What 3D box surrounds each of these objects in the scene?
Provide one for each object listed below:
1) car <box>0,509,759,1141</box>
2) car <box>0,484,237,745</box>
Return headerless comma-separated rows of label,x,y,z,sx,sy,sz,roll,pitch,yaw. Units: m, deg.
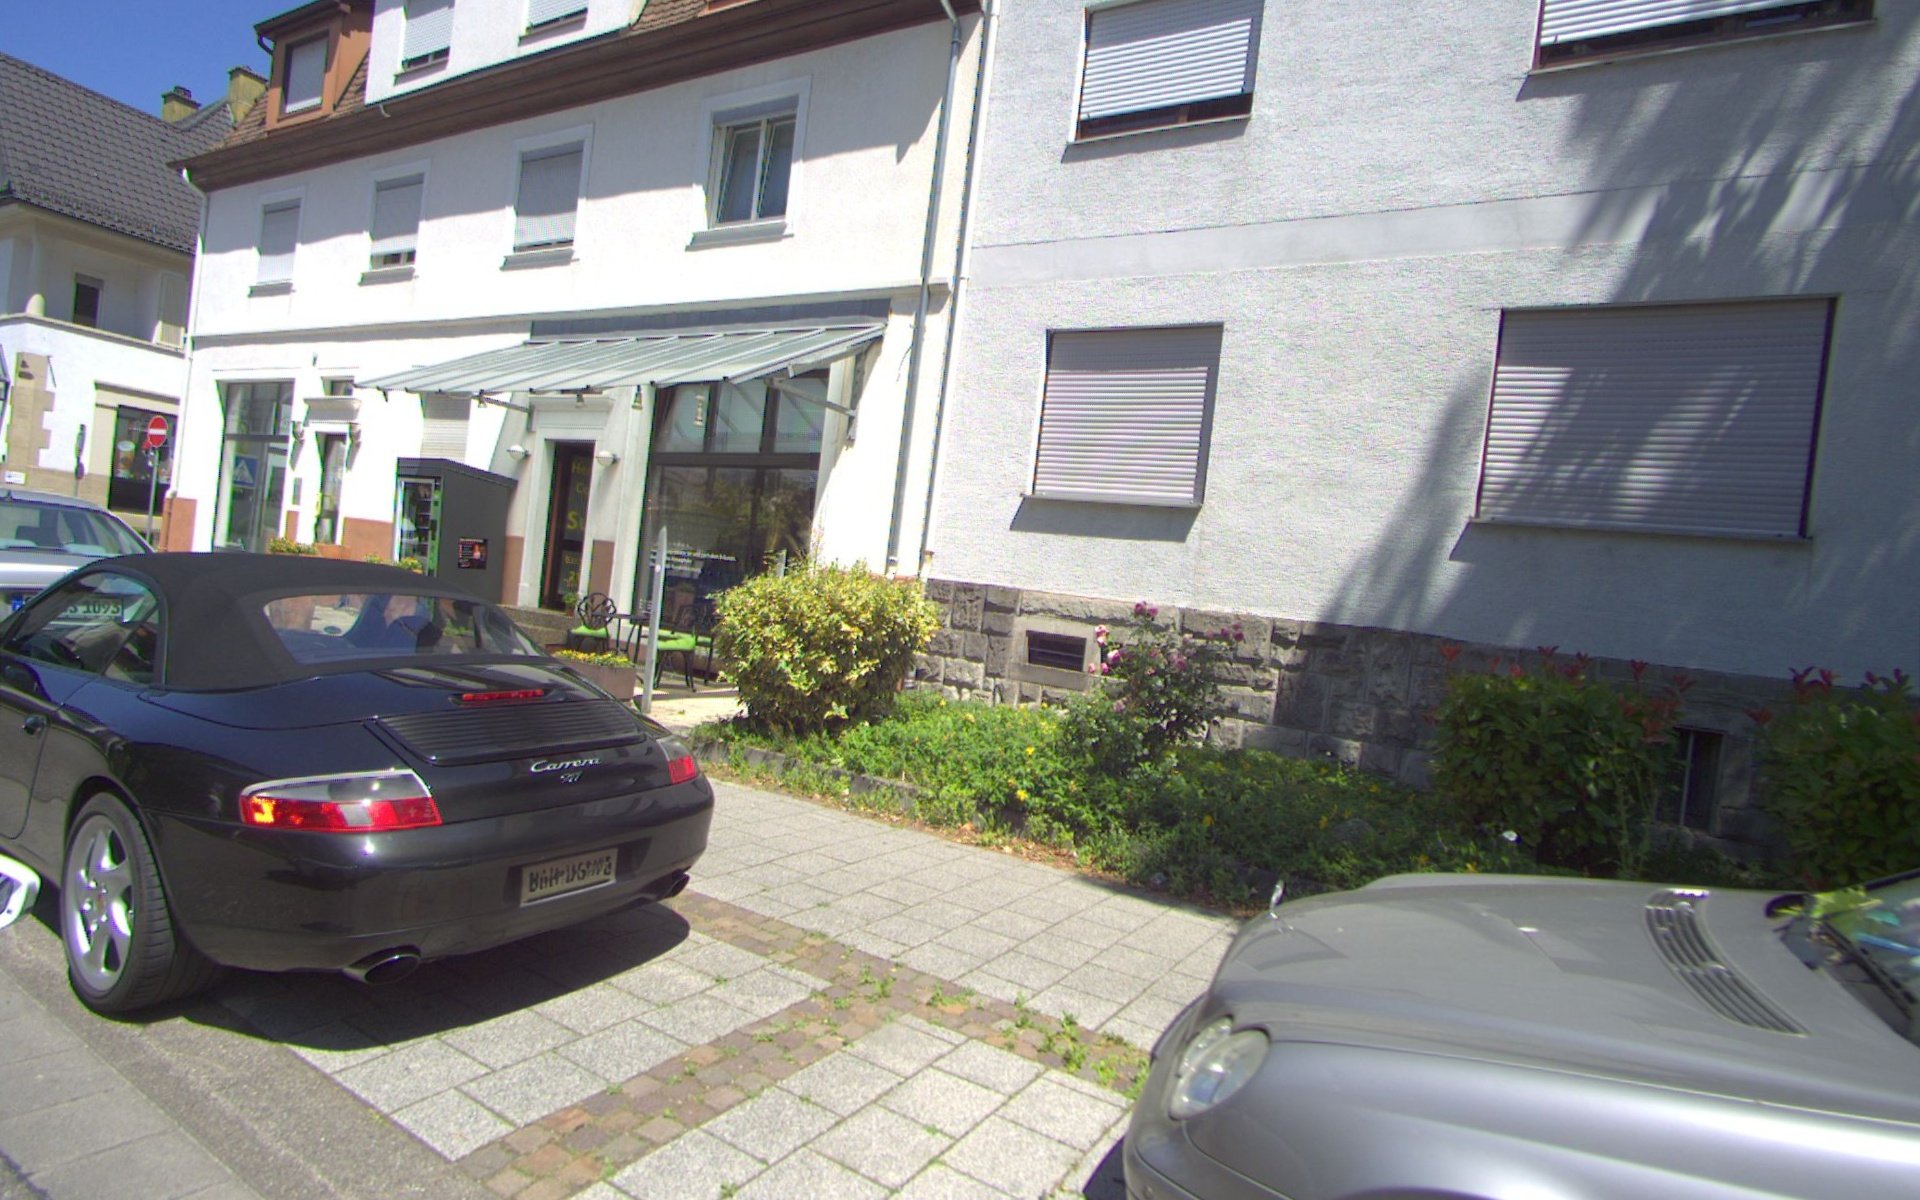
car,-2.932,0.436,4.085,4.104,1.358,1.559,6,1,32
car,-7.329,-0.123,7.242,4.772,1.488,1.744,6,2,32
